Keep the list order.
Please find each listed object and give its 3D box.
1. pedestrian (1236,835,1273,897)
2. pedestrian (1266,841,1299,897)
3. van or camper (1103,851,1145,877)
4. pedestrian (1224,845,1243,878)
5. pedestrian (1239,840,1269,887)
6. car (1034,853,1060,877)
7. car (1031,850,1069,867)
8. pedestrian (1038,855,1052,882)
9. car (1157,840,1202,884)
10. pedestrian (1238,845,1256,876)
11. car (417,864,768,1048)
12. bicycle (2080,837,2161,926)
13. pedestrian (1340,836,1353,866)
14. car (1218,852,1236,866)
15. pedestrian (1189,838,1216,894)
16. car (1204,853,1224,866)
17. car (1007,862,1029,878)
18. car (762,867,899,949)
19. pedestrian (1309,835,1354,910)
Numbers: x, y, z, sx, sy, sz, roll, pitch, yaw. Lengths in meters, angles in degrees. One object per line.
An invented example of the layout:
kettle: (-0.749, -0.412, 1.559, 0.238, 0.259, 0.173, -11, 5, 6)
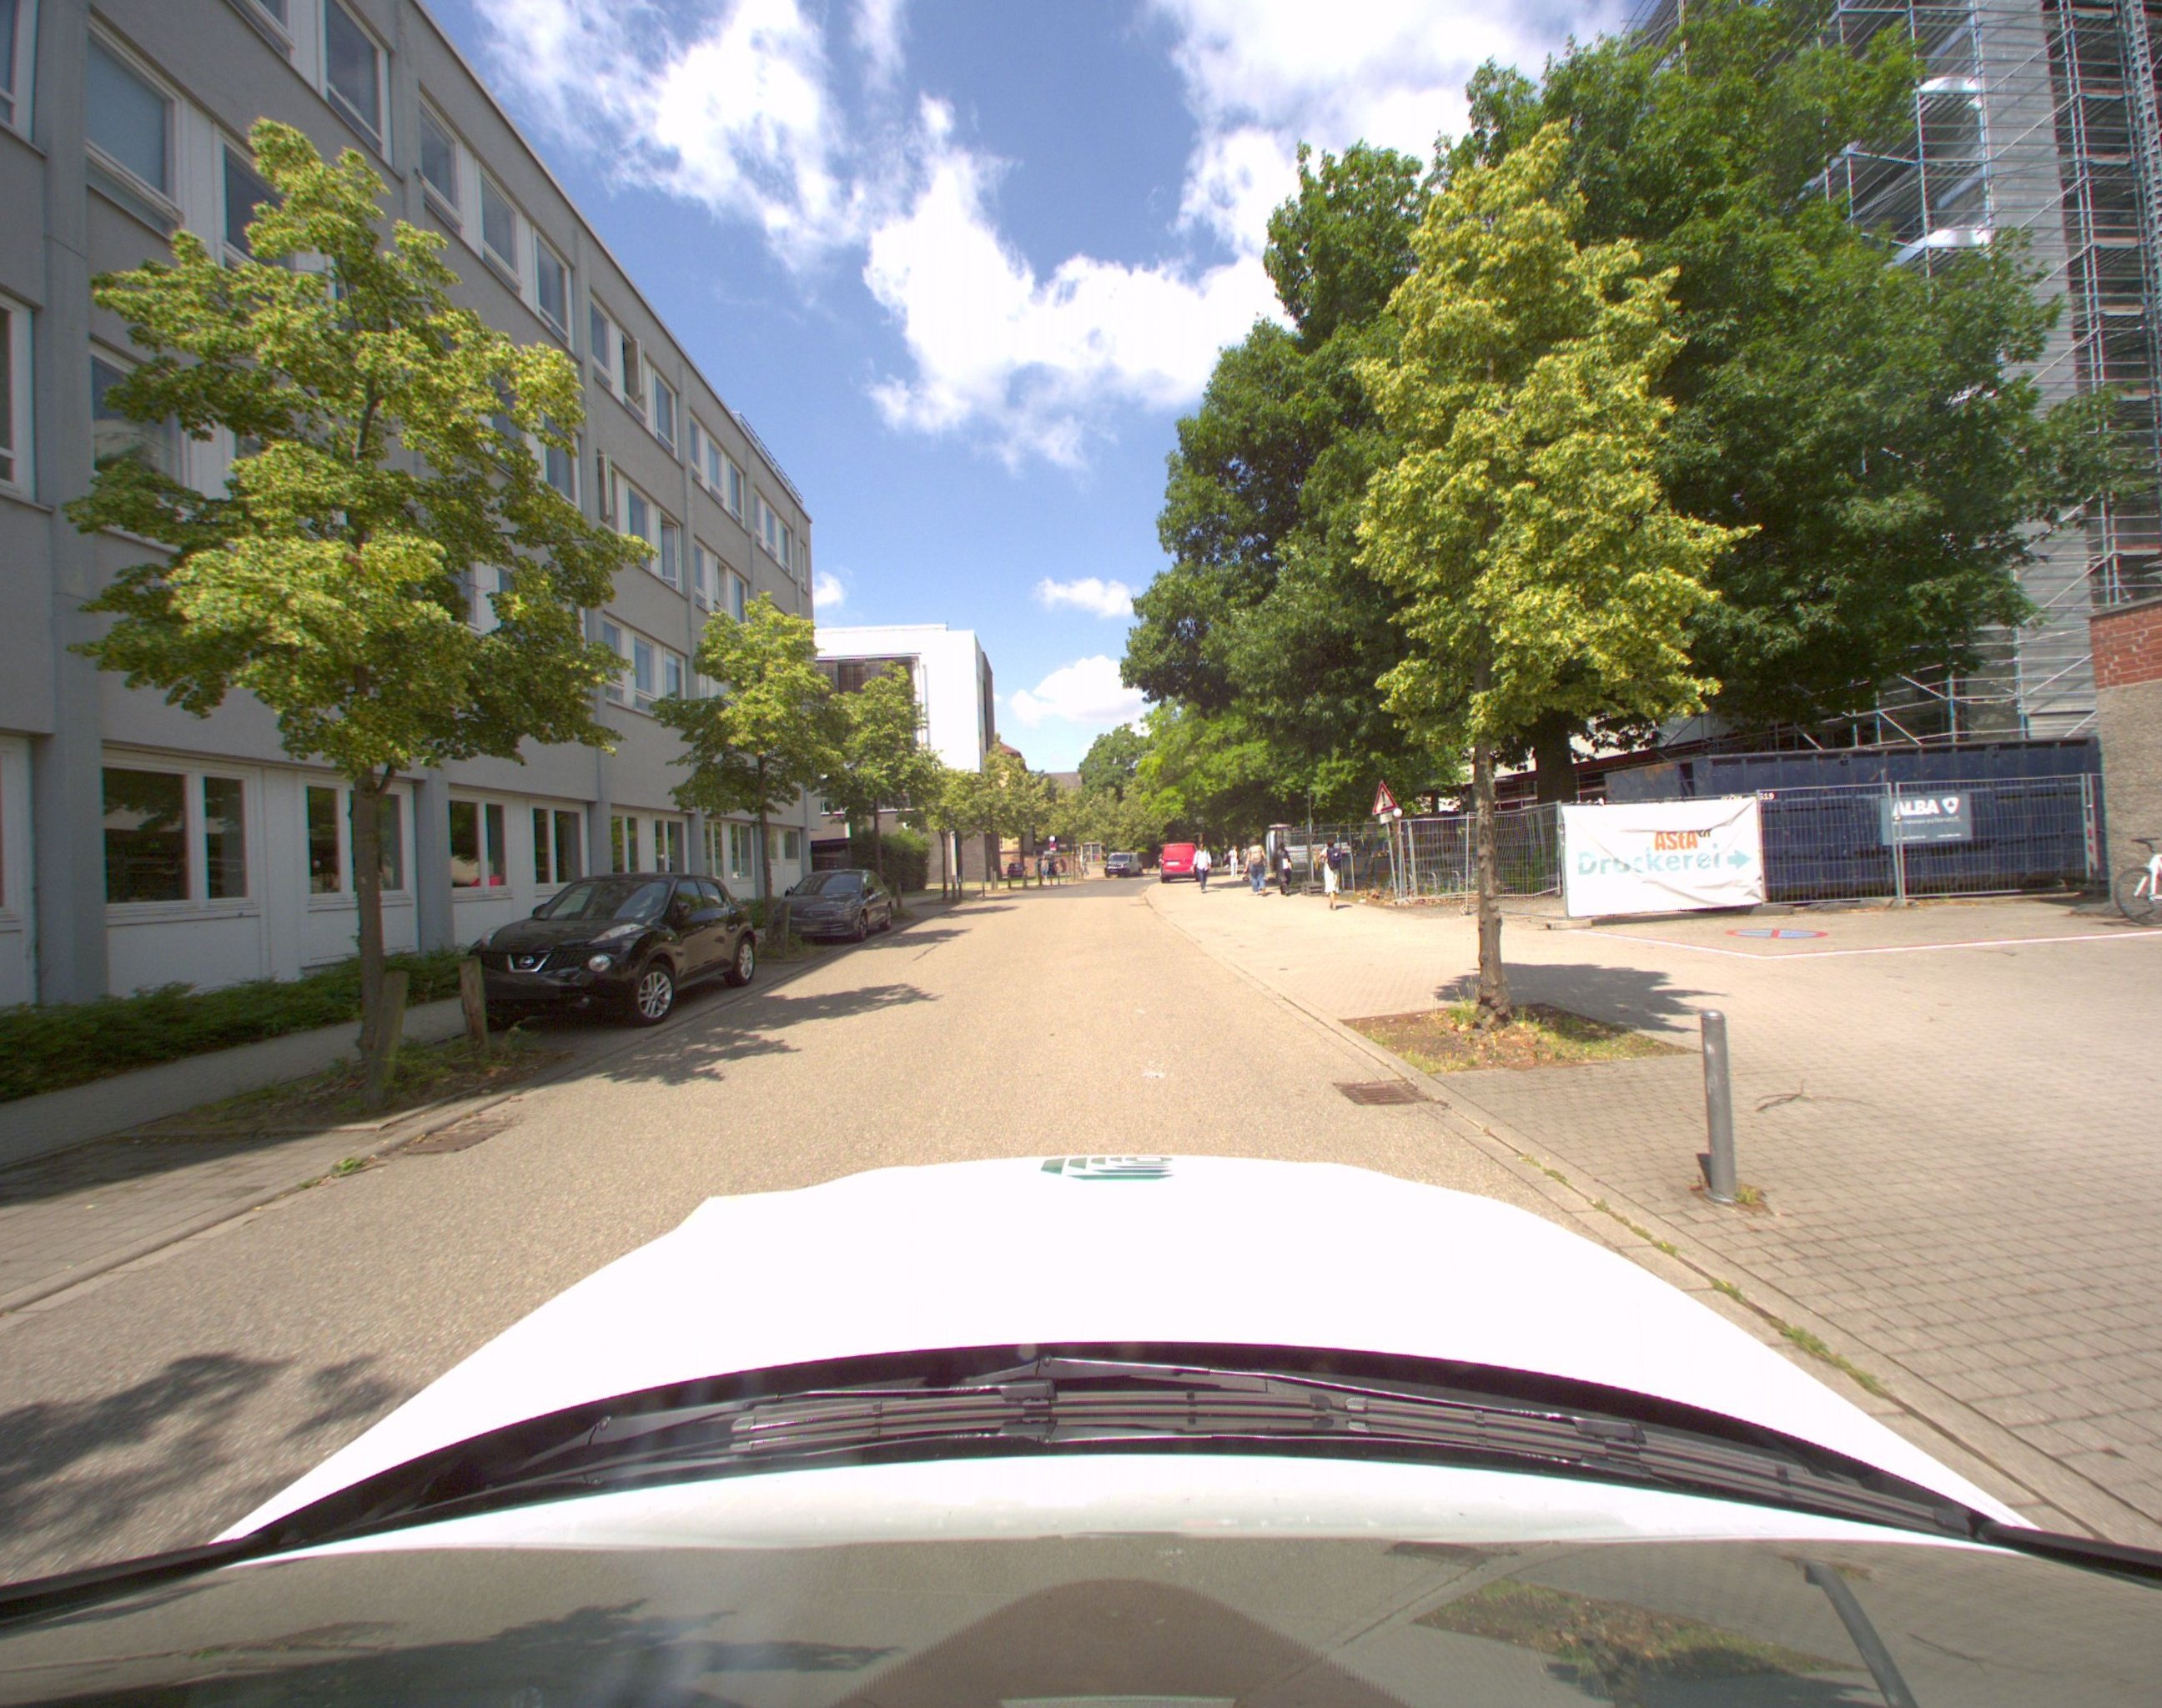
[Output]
pedestrian: (5.119, 0.350, 24.092, 0.847, 1.764, 0.716, -3, -1, 0)
pedestrian: (5.911, 0.433, 23.945, 0.666, 1.600, 0.985, -3, -1, 2)
van or camper: (3.510, 0.784, 65.581, 1.937, 1.923, 5.446, -2, 0, 19)
pedestrian: (8.627, 0.405, 46.132, 0.727, 1.821, 0.623, -2, -1, -37)
pedestrian: (6.241, 0.348, 29.348, 0.715, 1.631, 0.706, -2, -1, -20)
car: (-3.105, 0.988, 73.655, 2.170, 1.926, 5.180, -2, -1, -3)
car: (-3.806, 0.575, 99.786, 4.169, 1.823, 1.988, -2, -1, -18)
pedestrian: (-2.403, 0.964, 54.706, 0.579, 1.764, 0.915, -3, -1, 17)
car: (4.768, 0.370, 38.978, 1.837, 1.891, 4.902, -3, 0, 9)
pedestrian: (9.235, 0.356, 45.299, 0.749, 1.710, 0.558, -2, -1, -37)
car: (-5.206, 0.942, 9.424, 1.693, 1.564, 4.063, -3, 0, -3)
bicycle: (13.054, 0.301, 9.733, 1.666, 1.003, 0.447, -3, -1, -1)
pedestrian: (16.845, -0.178, 51.739, 0.540, 1.837, 0.763, -3, -1, 6)
car: (19.031, 0.615, 105.940, 1.602, 1.679, 4.020, -3, -1, 20)
pedestrian: (4.017, 0.401, 27.051, 0.692, 1.781, 0.787, -3, -1, 0)
car: (15.993, 0.628, 97.754, 1.602, 1.388, 4.020, -3, -1, 20)
car: (-5.663, 1.399, 73.546, 1.812, 1.324, 3.765, -3, -1, -2)
car: (-5.212, 1.050, 17.538, 1.774, 1.461, 4.254, -1, 0, -3)
pedestrian: (5.799, 0.420, 18.917, 0.648, 1.666, 0.903, -3, -1, -3)
